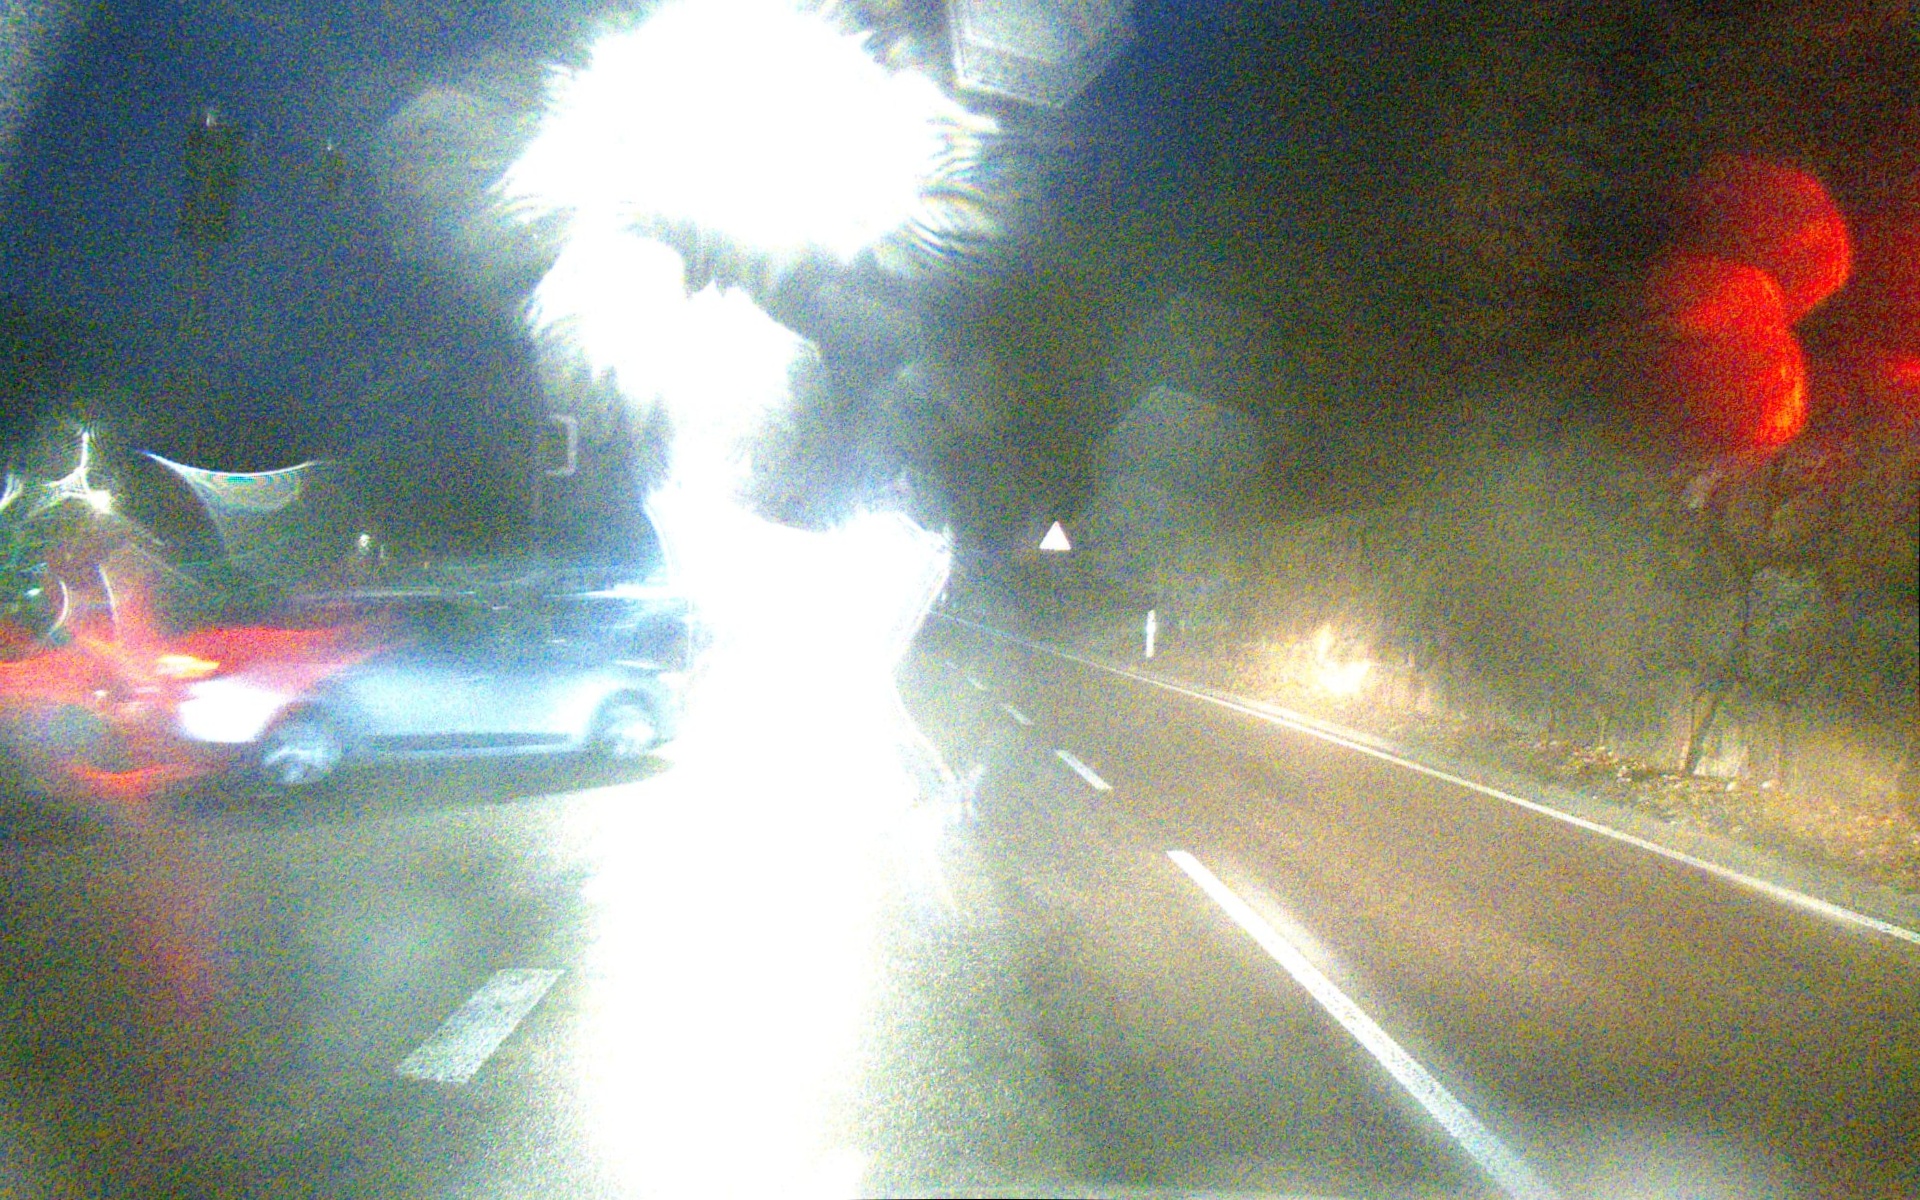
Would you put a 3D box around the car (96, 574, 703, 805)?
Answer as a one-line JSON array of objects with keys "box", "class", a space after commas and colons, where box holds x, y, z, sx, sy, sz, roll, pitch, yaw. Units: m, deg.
[{"box": [-4.286, 0.586, 13.104, 4.334, 1.545, 1.494, 0, 1, -41], "class": "car"}]

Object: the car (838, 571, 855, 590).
[{"box": [-12.815, -2.158, 187.005, 1.755, 2.057, 4.577, 1, 0, -3], "class": "car"}]
